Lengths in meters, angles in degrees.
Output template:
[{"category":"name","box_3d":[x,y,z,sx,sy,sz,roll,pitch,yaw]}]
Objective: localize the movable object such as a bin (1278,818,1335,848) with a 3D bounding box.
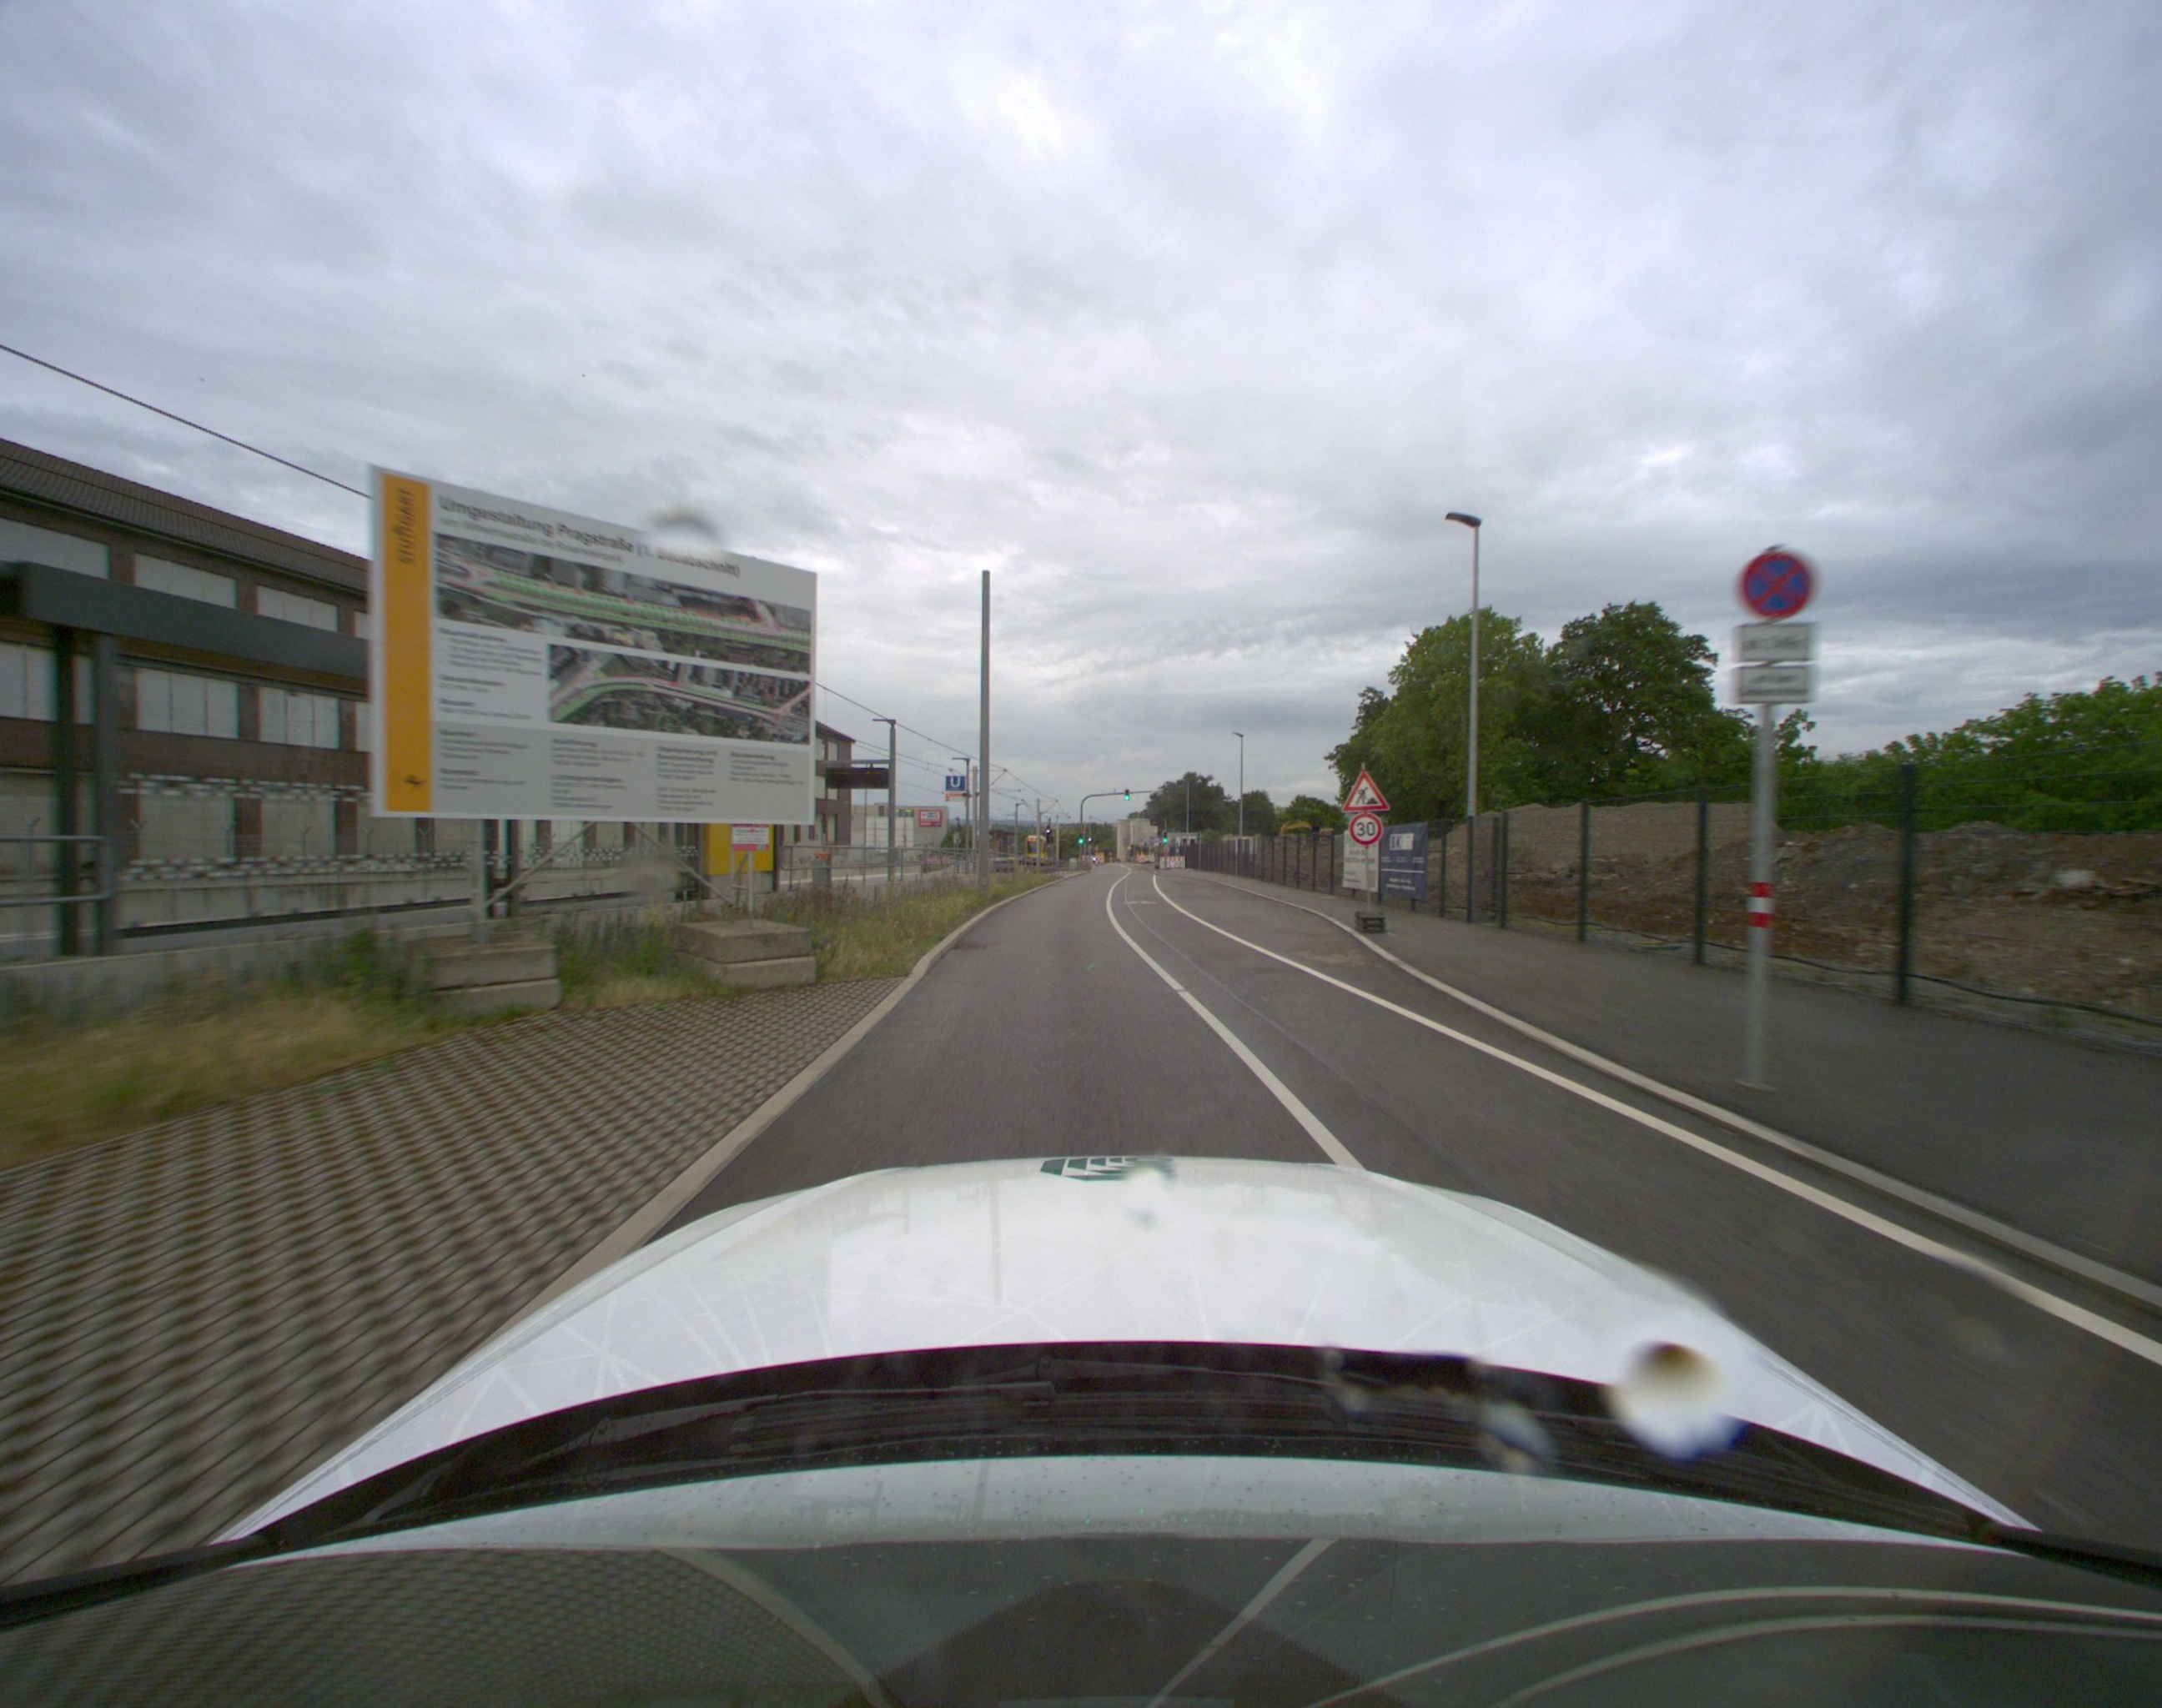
[{"category":"movable object such as a bin","box_3d":[47.125,-4.337,170.379,11.165,5.995,3.500,-1,-1,9]}]

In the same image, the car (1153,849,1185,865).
[{"category":"car","box_3d":[10.194,0.319,94.089,1.802,1.794,4.436,0,0,32]}]

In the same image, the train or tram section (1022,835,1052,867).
[{"category":"train or tram section","box_3d":[-5.684,-0.349,108.811,2.945,3.886,19.570,1,0,0]}]

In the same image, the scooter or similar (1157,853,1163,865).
[{"category":"scooter or similar","box_3d":[8.525,0.546,88.062,0.611,1.351,1.916,0,0,8]}]

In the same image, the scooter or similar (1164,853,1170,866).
[{"category":"scooter or similar","box_3d":[9.298,0.562,88.017,0.611,1.351,1.916,0,0,8]}]
